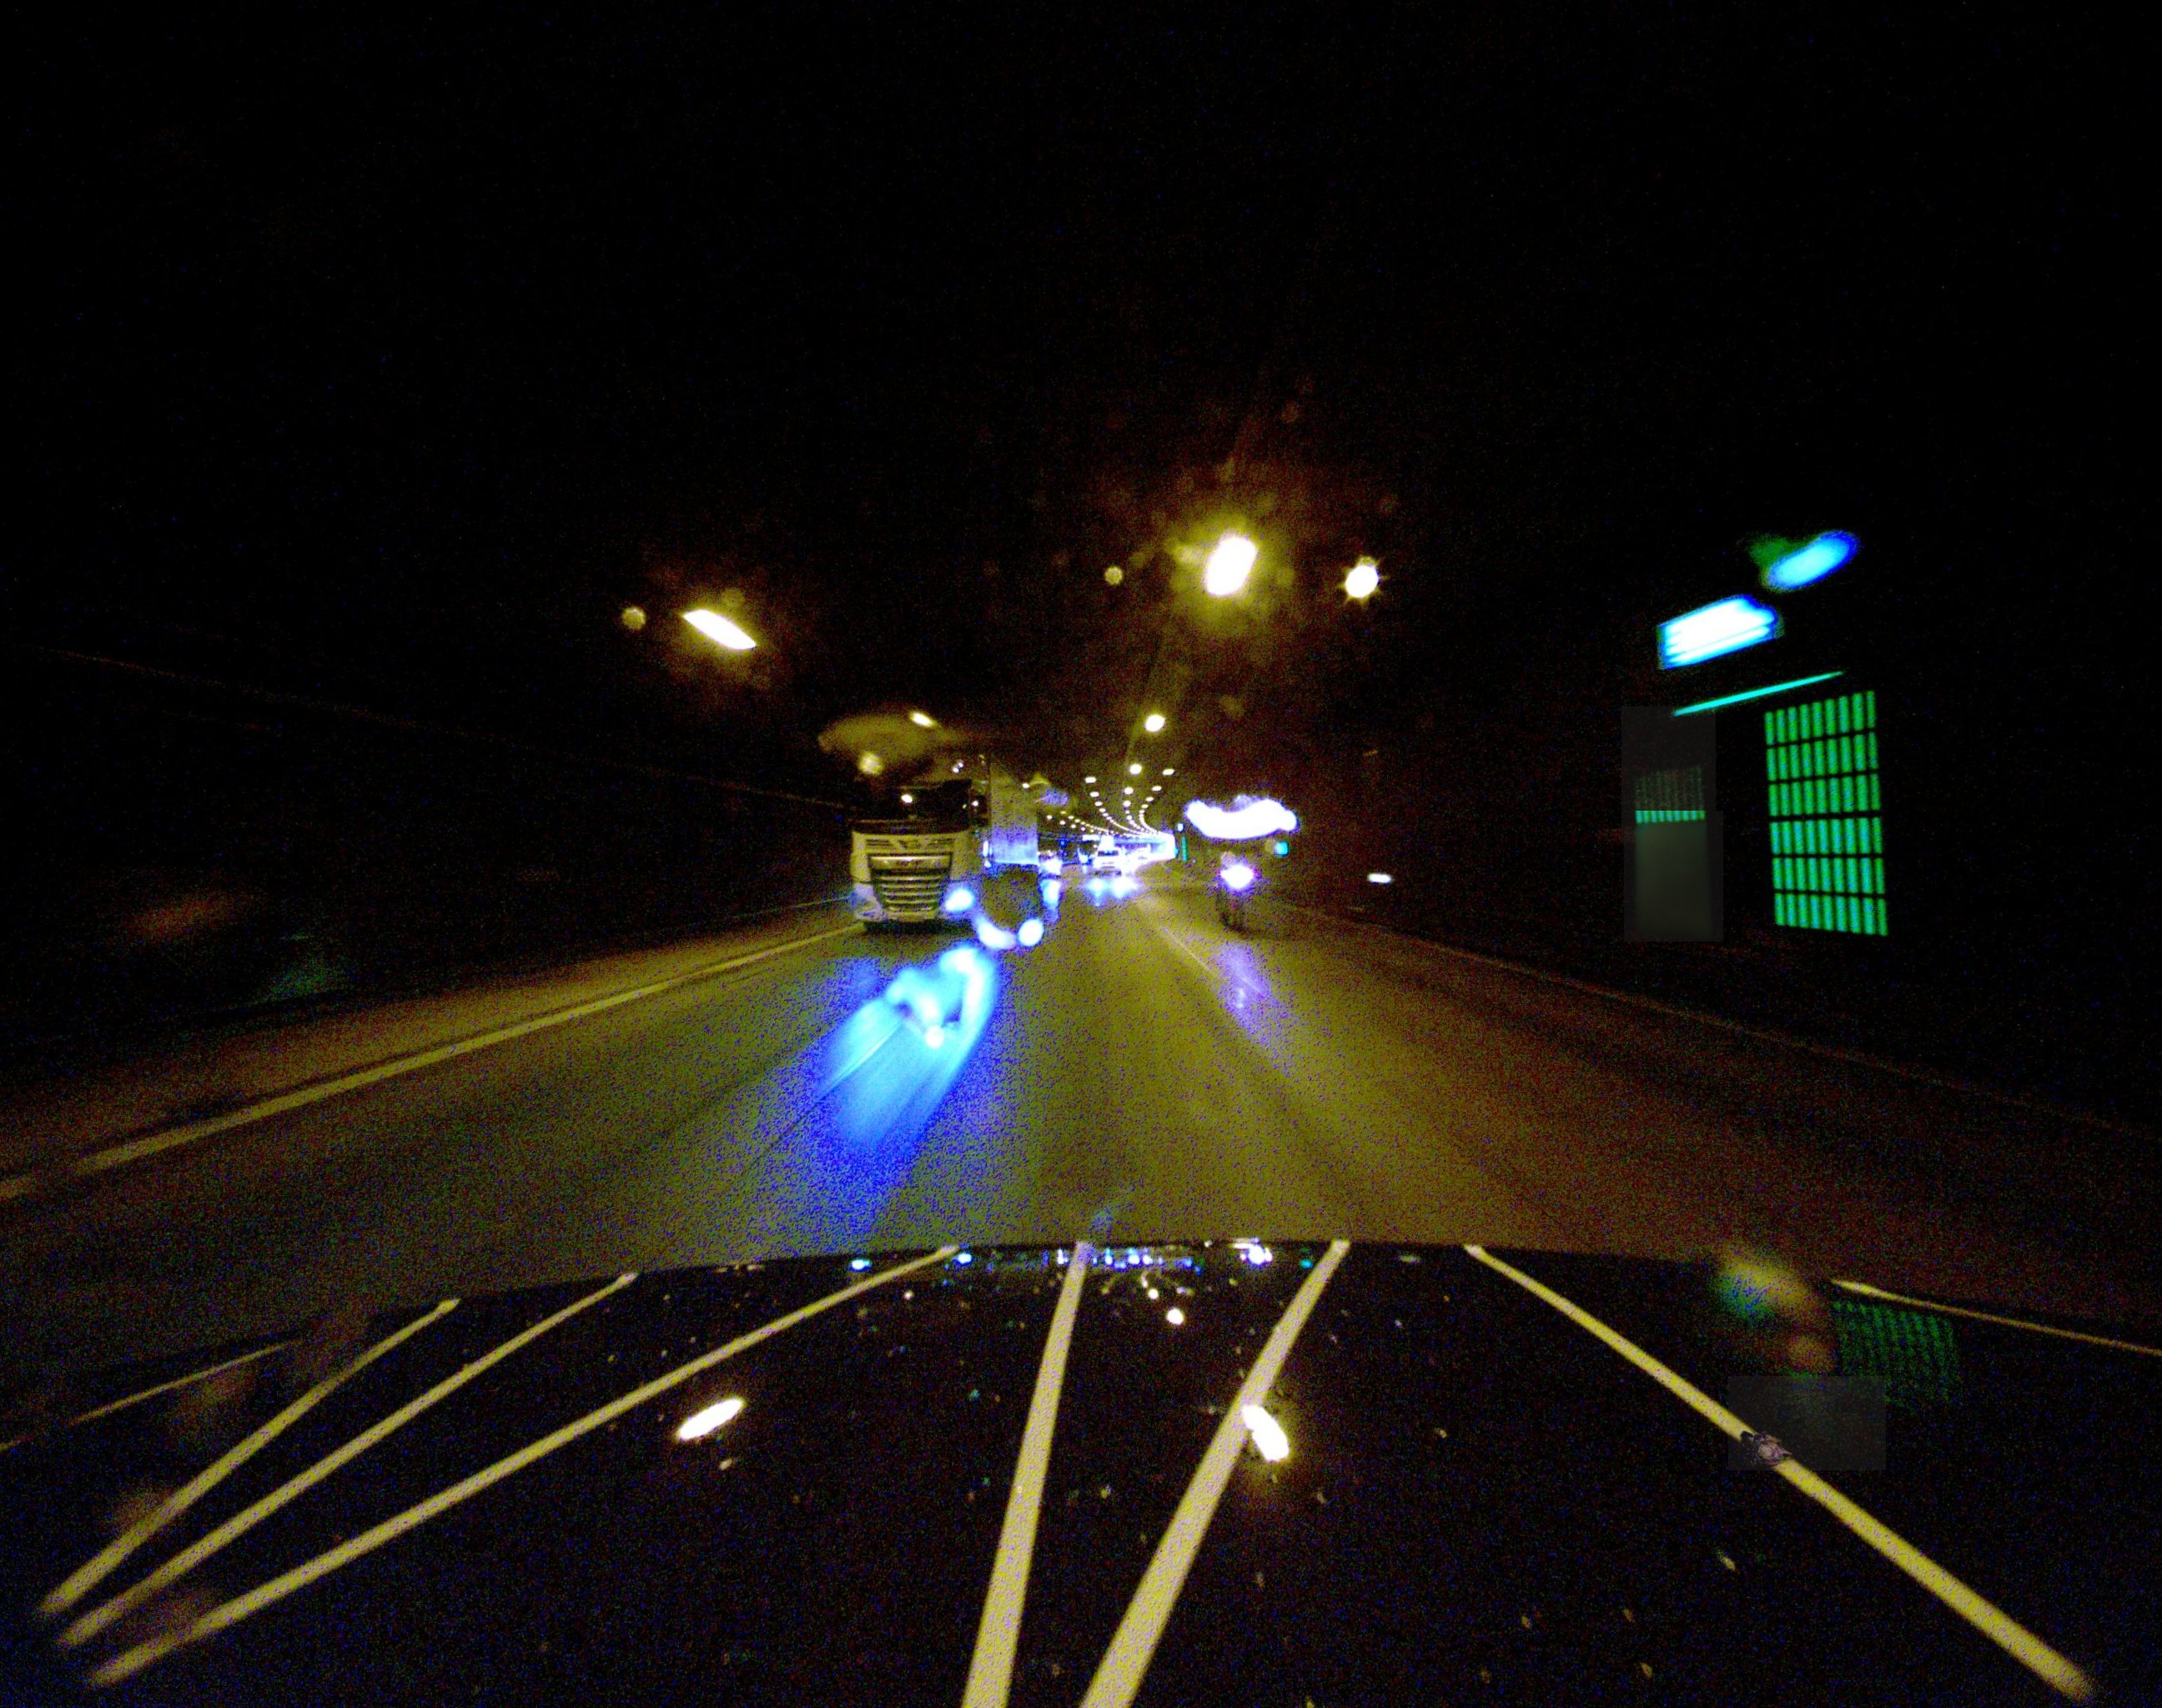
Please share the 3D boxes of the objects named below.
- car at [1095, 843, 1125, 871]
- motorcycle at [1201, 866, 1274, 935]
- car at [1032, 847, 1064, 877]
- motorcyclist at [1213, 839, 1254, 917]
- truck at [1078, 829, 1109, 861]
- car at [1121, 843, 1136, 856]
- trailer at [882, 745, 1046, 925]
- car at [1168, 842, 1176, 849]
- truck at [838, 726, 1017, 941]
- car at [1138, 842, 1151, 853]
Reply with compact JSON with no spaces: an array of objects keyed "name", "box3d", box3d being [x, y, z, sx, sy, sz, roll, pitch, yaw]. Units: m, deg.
[{"name":"car","box3d":[2.135,0.204,54.820,1.998,1.890,4.000,-2,0,3]},{"name":"motorcycle","box3d":[3.010,0.855,14.930,1.055,1.151,2.428,-2,1,4]},{"name":"car","box3d":[-2.150,0.503,50.836,1.839,1.849,4.287,-2,1,0]},{"name":"motorcyclist","box3d":[2.996,0.464,14.990,0.628,1.481,0.890,-2,1,3]},{"name":"truck","box3d":[1.732,-1.194,99.220,2.899,3.820,9.000,-3,1,7]},{"name":"car","box3d":[6.943,-0.643,110.969,1.998,1.788,4.001,-3,1,6]},{"name":"trailer","box3d":[-3.102,-0.503,25.038,2.627,4.139,14.001,-3,0,2]},{"name":"car","box3d":[25.219,-2.415,210.074,1.997,1.788,4.002,-3,1,10]},{"name":"truck","box3d":[-3.295,-0.432,18.042,2.652,4.139,6.005,-3,1,2]},{"name":"car","box3d":[11.571,-1.167,138.909,1.997,1.788,4.002,-3,1,10]}]
